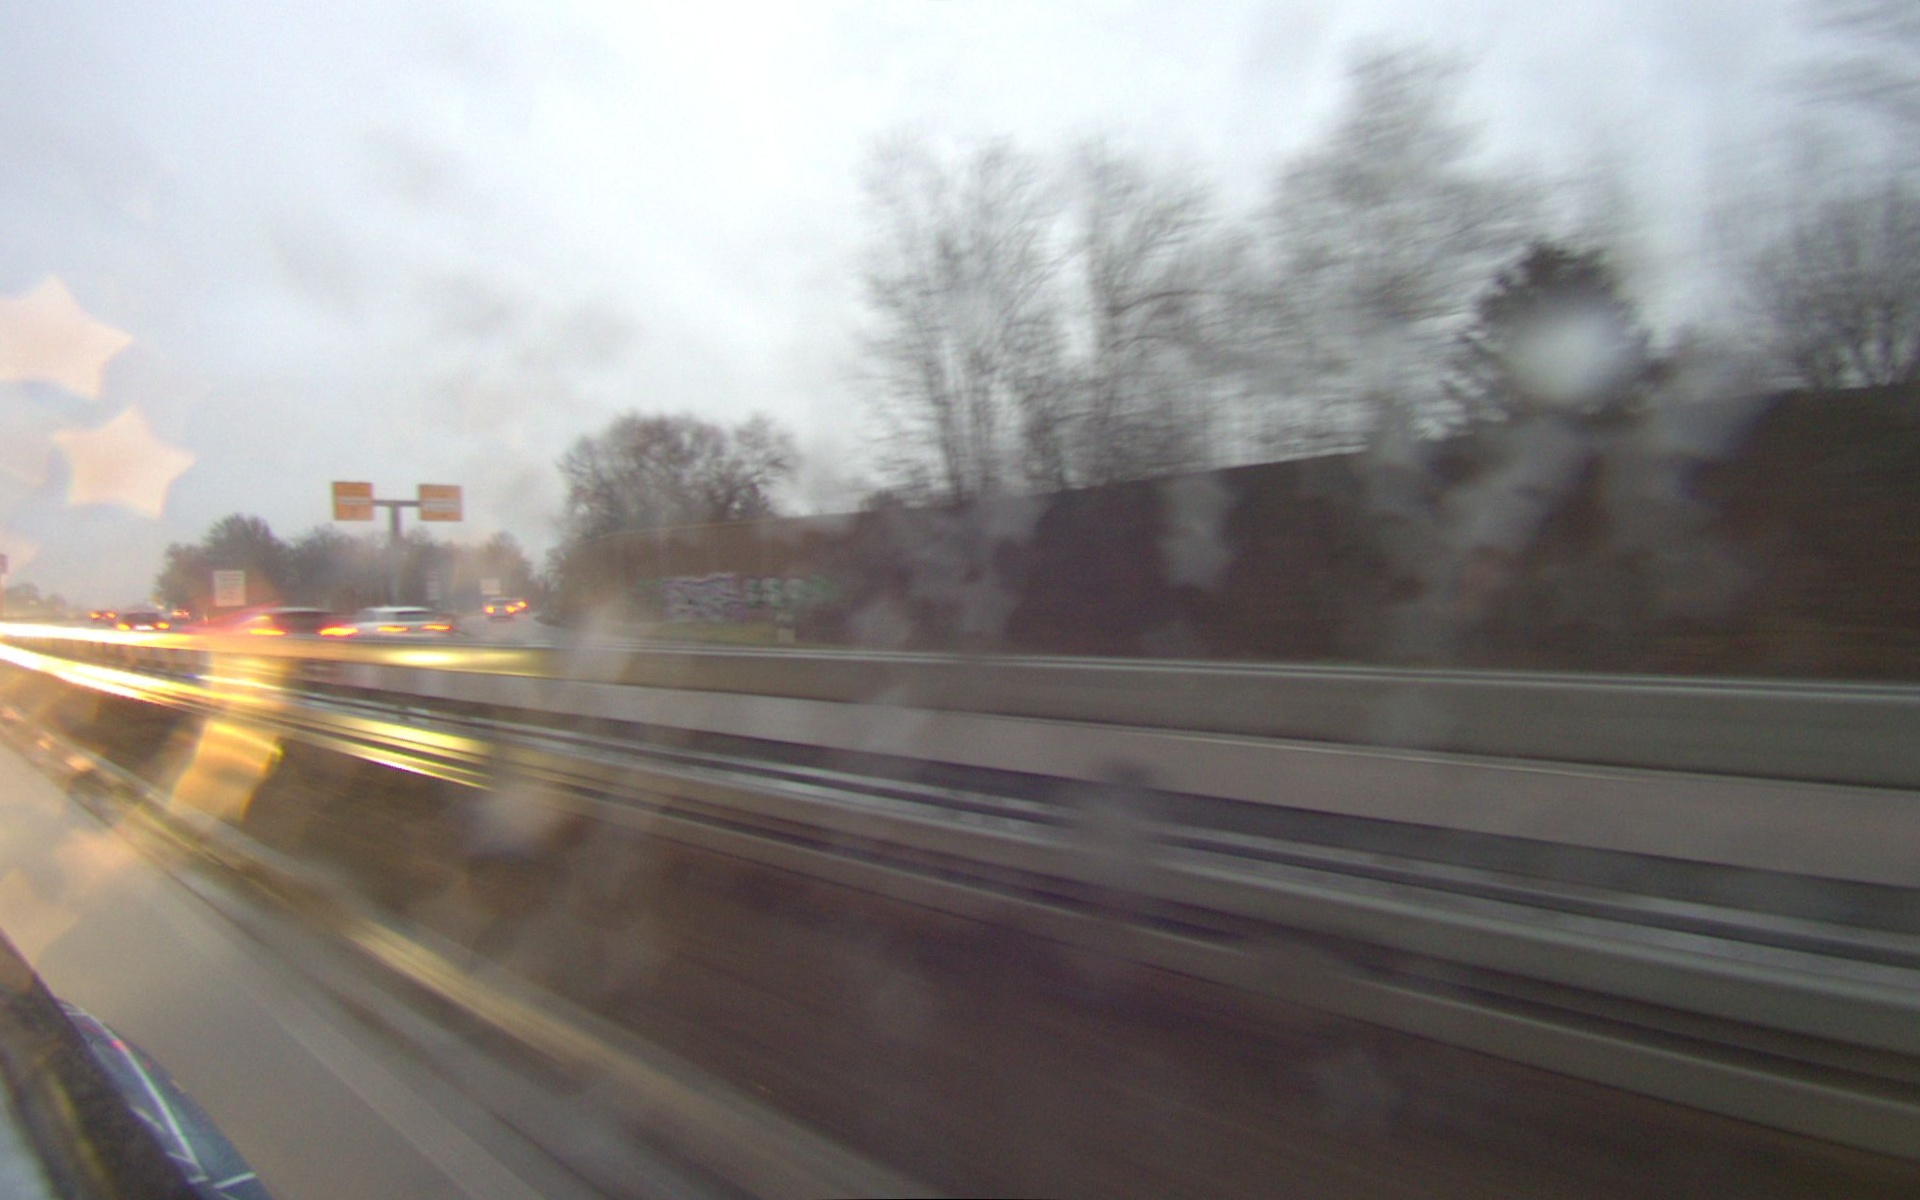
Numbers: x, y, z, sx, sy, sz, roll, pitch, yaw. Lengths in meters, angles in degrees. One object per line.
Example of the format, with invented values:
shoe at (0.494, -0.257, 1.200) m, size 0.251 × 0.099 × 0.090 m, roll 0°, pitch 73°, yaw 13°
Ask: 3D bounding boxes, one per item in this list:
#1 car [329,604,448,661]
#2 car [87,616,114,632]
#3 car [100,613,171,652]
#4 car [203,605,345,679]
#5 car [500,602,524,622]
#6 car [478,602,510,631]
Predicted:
car at (-17.591, 0.953, 31.037) m, size 4.849 × 1.578 × 1.686 m, roll -1°, pitch 1°, yaw 42°
car at (-91.933, 2.521, 108.260) m, size 1.816 × 1.567 × 4.357 m, roll -2°, pitch 1°, yaw -45°
car at (-34.454, 1.325, 42.265) m, size 3.842 × 1.506 × 1.718 m, roll -1°, pitch 1°, yaw 42°
car at (-15.747, 0.899, 23.133) m, size 4.598 × 1.495 × 1.599 m, roll -1°, pitch 1°, yaw 42°
car at (-44.737, 1.179, 101.189) m, size 1.965 × 1.928 × 4.460 m, roll -2°, pitch 1°, yaw -21°
car at (-33.573, 1.168, 72.989) m, size 1.965 × 1.928 × 4.460 m, roll -2°, pitch 1°, yaw -23°
